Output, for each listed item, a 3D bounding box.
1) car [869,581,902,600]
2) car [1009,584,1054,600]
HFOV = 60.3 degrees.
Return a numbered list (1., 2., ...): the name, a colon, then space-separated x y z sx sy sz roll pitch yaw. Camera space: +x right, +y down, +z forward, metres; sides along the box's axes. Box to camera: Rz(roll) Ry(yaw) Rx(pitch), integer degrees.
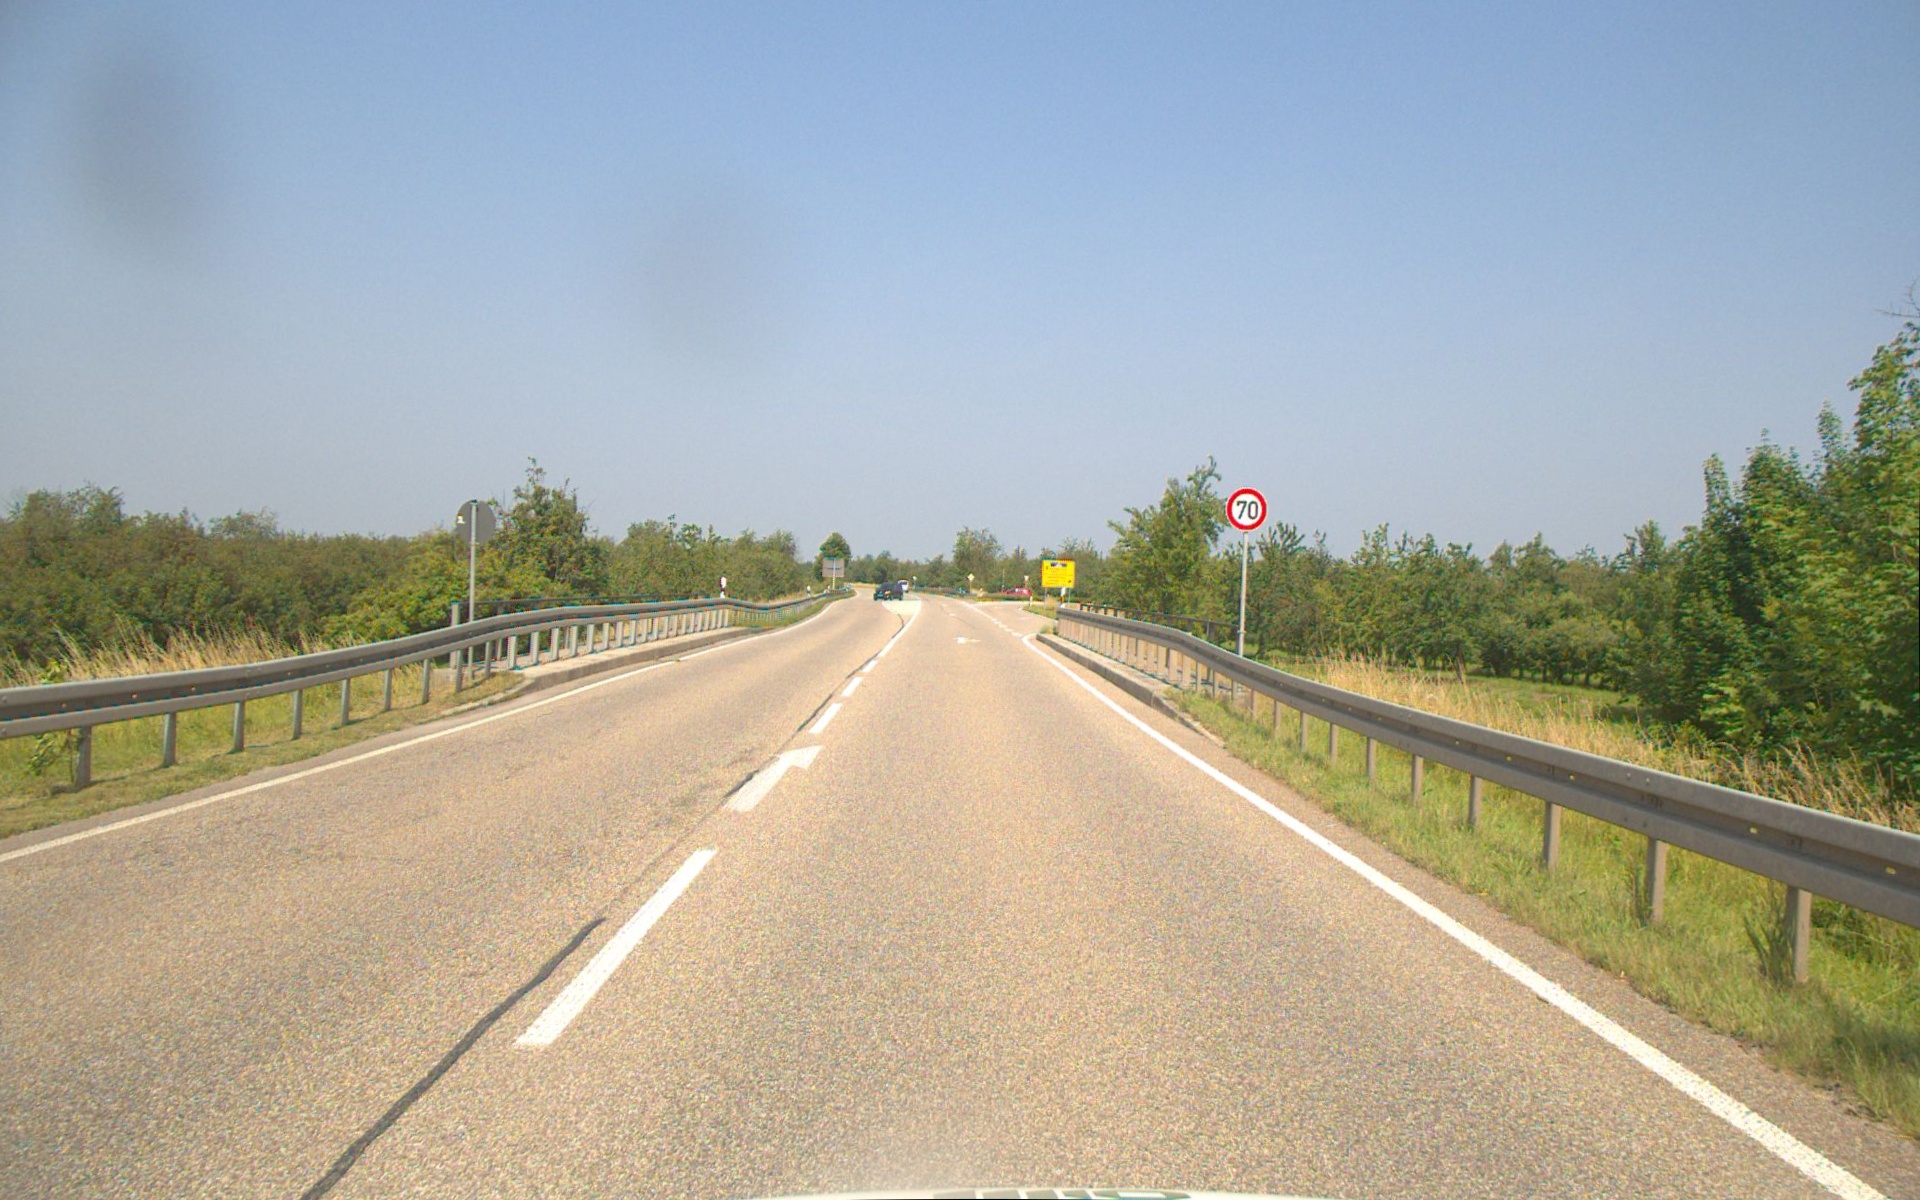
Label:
1. car: -6.885 -0.861 153.284 1.765 1.666 4.813 1 0 13
2. car: 7.215 -0.809 166.575 4.385 1.474 1.823 1 0 8
